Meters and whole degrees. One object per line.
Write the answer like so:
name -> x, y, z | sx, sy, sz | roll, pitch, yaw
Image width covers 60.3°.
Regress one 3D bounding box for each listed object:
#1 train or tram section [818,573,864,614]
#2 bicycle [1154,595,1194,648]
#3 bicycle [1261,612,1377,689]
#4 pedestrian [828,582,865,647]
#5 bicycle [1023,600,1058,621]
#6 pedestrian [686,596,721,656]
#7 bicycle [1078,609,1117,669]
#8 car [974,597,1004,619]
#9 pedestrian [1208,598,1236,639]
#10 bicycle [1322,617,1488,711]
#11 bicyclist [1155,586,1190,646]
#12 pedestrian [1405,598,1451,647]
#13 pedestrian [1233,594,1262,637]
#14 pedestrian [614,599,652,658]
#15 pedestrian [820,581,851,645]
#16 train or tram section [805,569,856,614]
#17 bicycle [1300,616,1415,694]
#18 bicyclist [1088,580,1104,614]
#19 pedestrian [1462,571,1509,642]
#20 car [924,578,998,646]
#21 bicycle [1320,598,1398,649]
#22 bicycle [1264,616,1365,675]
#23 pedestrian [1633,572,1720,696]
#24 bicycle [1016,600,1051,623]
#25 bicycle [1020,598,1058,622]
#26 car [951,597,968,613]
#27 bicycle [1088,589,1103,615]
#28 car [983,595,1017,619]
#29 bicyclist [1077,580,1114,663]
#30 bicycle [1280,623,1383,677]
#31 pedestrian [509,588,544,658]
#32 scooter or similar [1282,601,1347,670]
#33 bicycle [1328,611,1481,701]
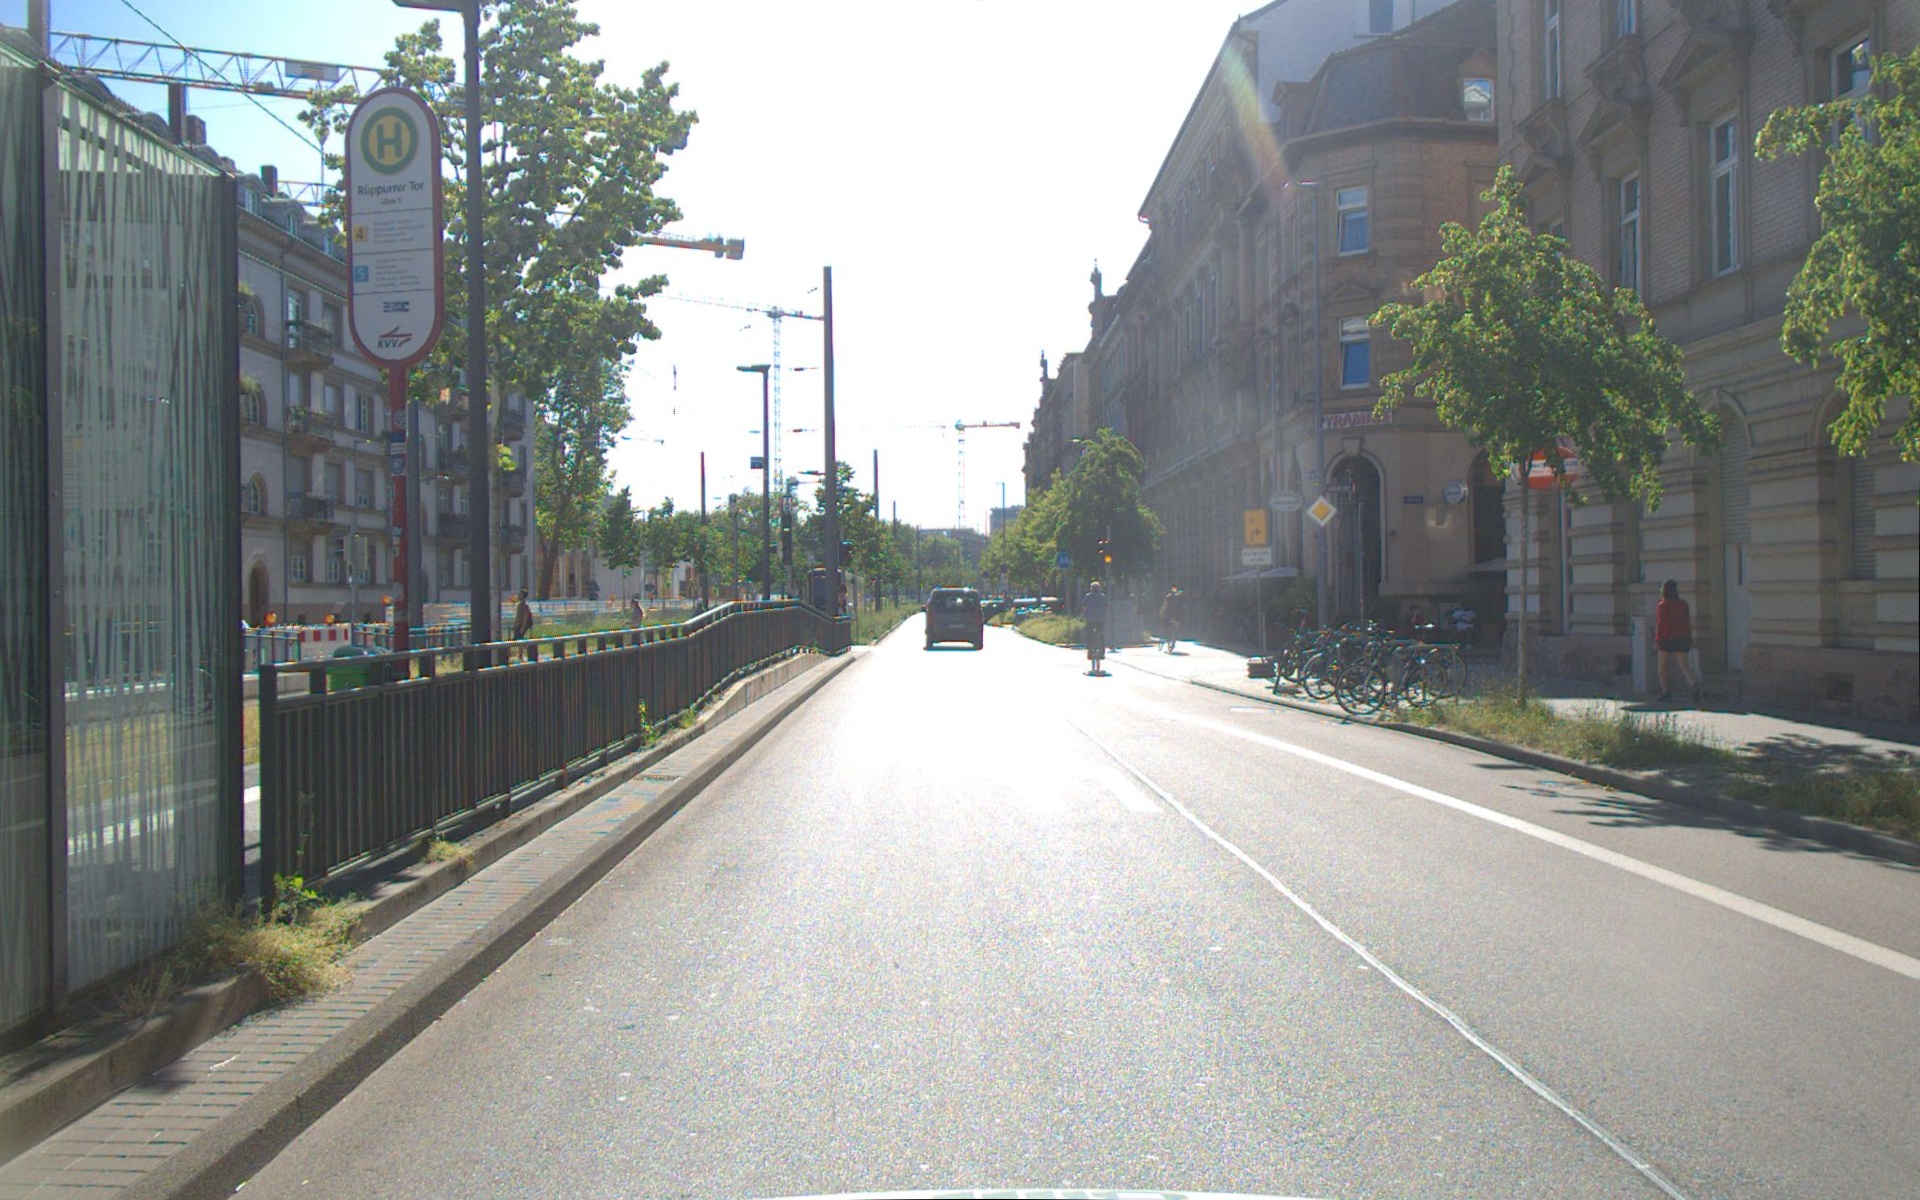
train or tram section -> -8.372, -0.384, 117.290 | 2.700, 2.791, 9.861 | 0, -1, -1
bicycle -> 5.752, 0.559, 44.619 | 0.603, 1.353, 1.898 | -5, 0, -4
bicycle -> 5.793, 0.809, 26.734 | 1.688, 1.120, 0.607 | -4, 0, 2
pedestrian -> -3.407, 0.430, 49.608 | 1.055, 1.942, 0.652 | -1, 0, -8
bicycle -> 4.171, 0.560, 85.834 | 1.756, 1.048, 0.527 | -1, 0, -2
pedestrian -> -6.747, 0.666, 43.534 | 0.796, 1.563, 0.798 | 0, 0, 0
bicycle -> 2.869, 0.799, 34.672 | 0.589, 1.201, 1.868 | 1, 0, -2
car -> 2.134, 0.593, 122.899 | 1.987, 1.525, 4.529 | -1, 0, -1
pedestrian -> 7.959, 0.556, 50.274 | 0.692, 1.198, 0.635 | -3, 0, -2
bicycle -> 6.043, 0.859, 22.500 | 1.959, 1.111, 0.845 | -4, 0, -11
bicyclist -> 5.736, 0.433, 44.661 | 0.647, 1.556, 0.800 | -5, 0, -4
pedestrian -> 11.946, 0.557, 42.229 | 0.833, 1.235, 0.932 | 0, 0, -8
pedestrian -> 8.755, 0.478, 50.345 | 0.692, 1.258, 0.635 | -3, 0, -2
pedestrian -> -8.712, 0.758, 44.128 | 0.847, 1.563, 0.909 | 0, 0, -1
pedestrian -> -3.574, 0.369, 47.392 | 0.848, 1.819, 0.969 | 0, 0, -8
train or tram section -> -8.317, -0.478, 107.444 | 2.700, 2.791, 9.861 | 0, -1, -1
bicycle -> 6.044, 0.825, 25.185 | 1.567, 1.063, 0.607 | -4, 0, 2
bicyclist -> 6.816, -0.159, 83.066 | 0.653, 1.668, 0.960 | -1, 0, -1
pedestrian -> 13.516, 0.162, 42.556 | 0.889, 1.791, 0.866 | 0, 0, -8
car -> -0.024, 0.359, 51.674 | 2.155, 1.960, 4.652 | -1, 0, -1
bicycle -> 9.930, 0.575, 41.201 | 1.779, 1.191, 0.654 | -1, 3, 2
bicycle -> 6.179, 0.791, 28.888 | 1.635, 0.960, 0.607 | -2, 0, 6
pedestrian -> 9.301, 0.433, 21.501 | 0.695, 1.569, 0.927 | -1, 0, -2
bicycle -> 3.870, 0.615, 87.171 | 1.757, 1.048, 0.527 | -5, 0, -2
bicycle -> 3.947, 0.487, 82.857 | 1.757, 1.048, 0.527 | -5, 0, -2
car -> -0.057, 0.637, 205.851 | 1.953, 1.870, 3.999 | 0, -1, -1
bicycle -> 6.814, 0.092, 83.190 | 0.571, 1.244, 1.899 | -1, 0, -1
car -> 2.657, 0.457, 110.568 | 1.987, 1.525, 4.652 | -1, 0, -1
bicyclist -> 2.852, 0.443, 34.884 | 0.670, 1.702, 0.922 | 1, 0, -2
bicycle -> 6.329, 0.854, 28.226 | 1.635, 0.835, 0.607 | -2, 0, 5
pedestrian -> -11.374, 0.593, 43.382 | 0.850, 1.812, 0.906 | 0, 0, -13
scooter or similar -> 6.489, 0.641, 30.305 | 1.087, 1.210, 0.419 | -2, 0, 6
bicycle -> 6.402, 0.803, 23.882 | 1.954, 1.148, 0.710 | -4, 0, 0
